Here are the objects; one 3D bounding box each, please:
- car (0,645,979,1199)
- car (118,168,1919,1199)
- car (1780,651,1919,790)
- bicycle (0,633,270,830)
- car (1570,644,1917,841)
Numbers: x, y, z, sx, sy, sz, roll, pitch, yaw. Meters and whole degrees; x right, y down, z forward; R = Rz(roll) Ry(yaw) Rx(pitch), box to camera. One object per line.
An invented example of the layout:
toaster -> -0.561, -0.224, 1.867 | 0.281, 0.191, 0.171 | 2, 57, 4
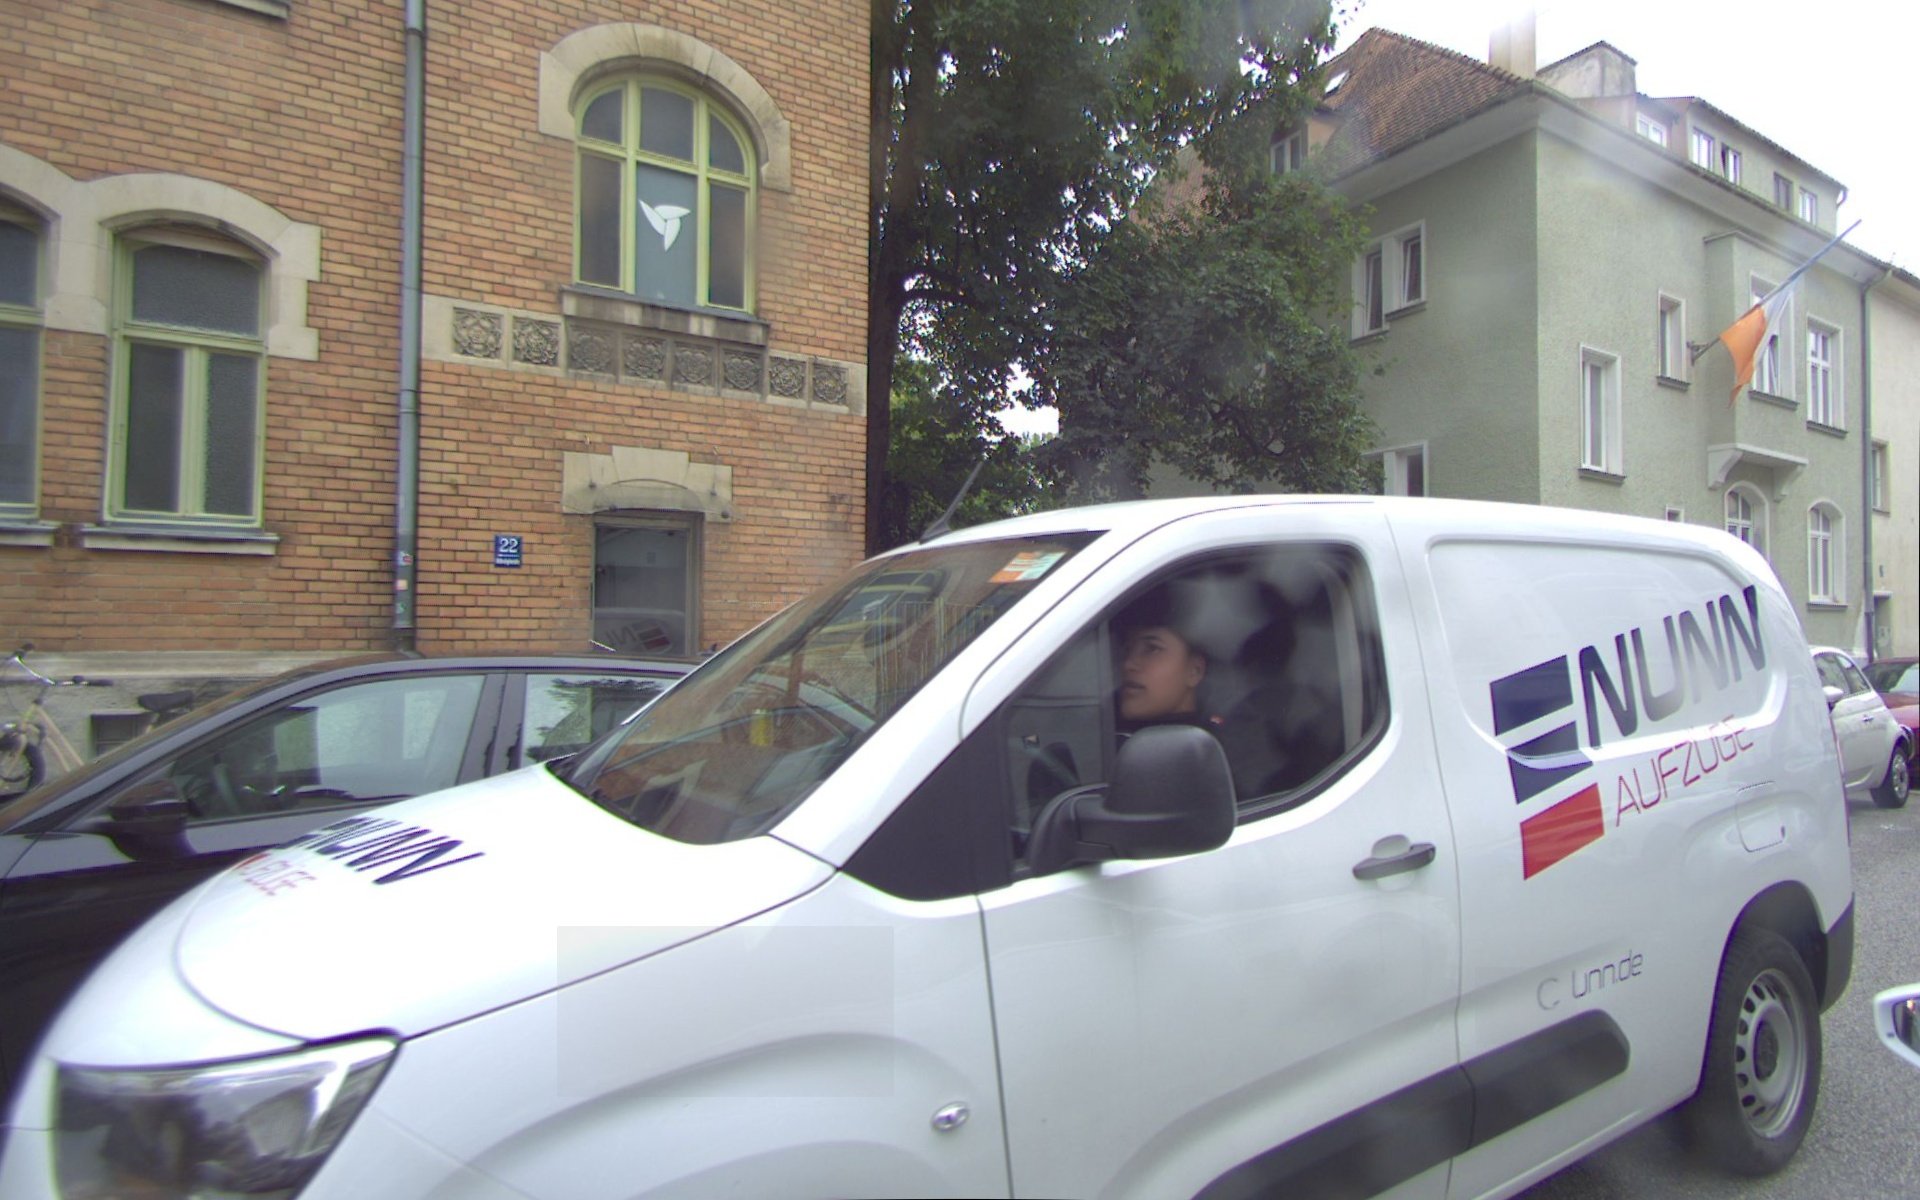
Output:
car -> -2.099, 0.915, 3.675 | 4.098, 1.461, 1.681 | 1, -4, -32
car -> 0.727, 0.581, 2.851 | 4.519, 1.827, 1.763 | 1, -2, -31
car -> 11.622, 1.340, 11.794 | 4.287, 1.431, 1.850 | 2, -5, -33
bicycle -> -5.462, 0.781, 6.299 | 1.806, 1.143, 0.628 | 1, -2, -30
car -> 7.164, 1.154, 9.130 | 3.278, 1.485, 1.465 | 2, -4, -33
